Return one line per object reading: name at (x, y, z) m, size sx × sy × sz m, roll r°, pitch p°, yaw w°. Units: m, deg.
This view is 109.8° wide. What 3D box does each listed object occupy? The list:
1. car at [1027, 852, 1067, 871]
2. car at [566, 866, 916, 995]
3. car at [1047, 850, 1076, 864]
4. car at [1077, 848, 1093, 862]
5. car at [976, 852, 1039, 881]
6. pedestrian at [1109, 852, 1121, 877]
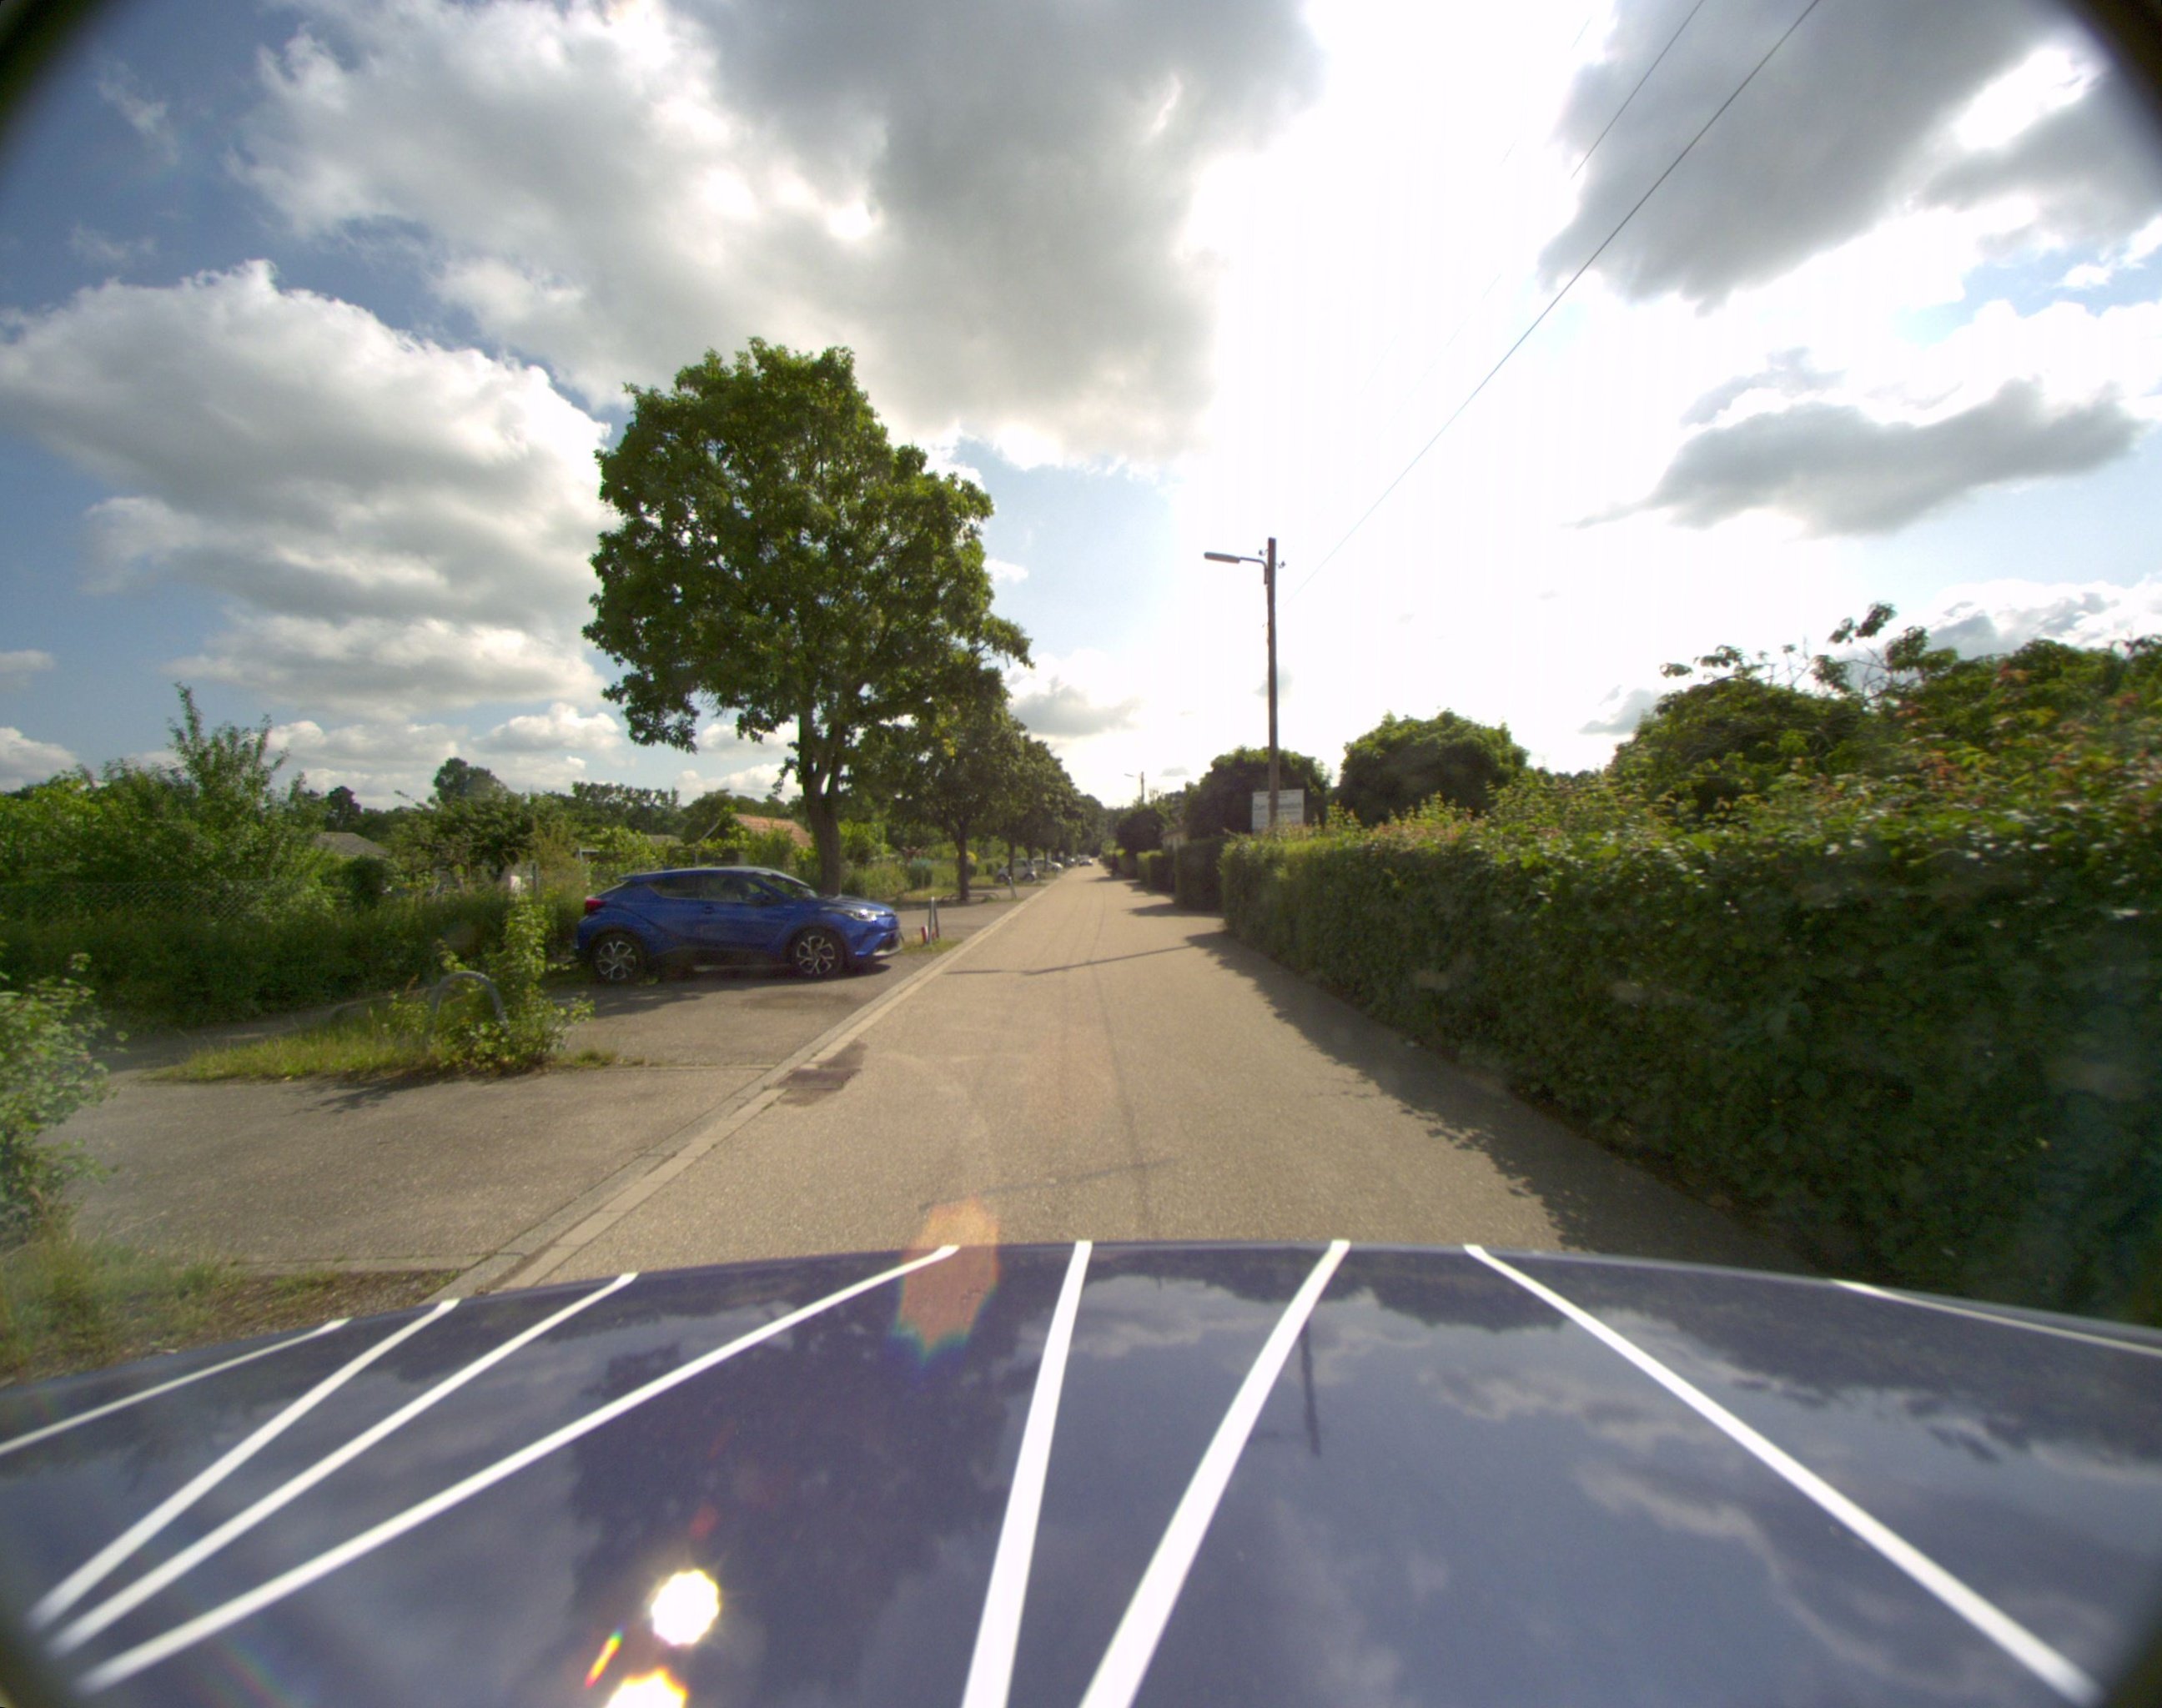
car at (-3.543, 0.756, 79.335) m, size 3.929 × 1.740 × 2.000 m, roll -2°, pitch 1°, yaw 1°
car at (-4.607, 1.008, 10.764) m, size 4.116 × 1.573 × 1.781 m, roll -1°, pitch 0°, yaw -1°
car at (-2.747, 0.396, 107.872) m, size 3.998 × 1.824 × 1.999 m, roll -2°, pitch 1°, yaw -2°
car at (0.560, 0.129, 109.161) m, size 1.998 × 1.740 × 3.932 m, roll -2°, pitch 1°, yaw 3°
car at (-4.854, 0.820, 50.736) m, size 3.929 × 1.740 × 2.000 m, roll -2°, pitch 1°, yaw 1°
pedestrian at (2.292, 0.704, 51.512) m, size 0.701 × 1.701 × 0.788 m, roll -2°, pitch 1°, yaw 0°
